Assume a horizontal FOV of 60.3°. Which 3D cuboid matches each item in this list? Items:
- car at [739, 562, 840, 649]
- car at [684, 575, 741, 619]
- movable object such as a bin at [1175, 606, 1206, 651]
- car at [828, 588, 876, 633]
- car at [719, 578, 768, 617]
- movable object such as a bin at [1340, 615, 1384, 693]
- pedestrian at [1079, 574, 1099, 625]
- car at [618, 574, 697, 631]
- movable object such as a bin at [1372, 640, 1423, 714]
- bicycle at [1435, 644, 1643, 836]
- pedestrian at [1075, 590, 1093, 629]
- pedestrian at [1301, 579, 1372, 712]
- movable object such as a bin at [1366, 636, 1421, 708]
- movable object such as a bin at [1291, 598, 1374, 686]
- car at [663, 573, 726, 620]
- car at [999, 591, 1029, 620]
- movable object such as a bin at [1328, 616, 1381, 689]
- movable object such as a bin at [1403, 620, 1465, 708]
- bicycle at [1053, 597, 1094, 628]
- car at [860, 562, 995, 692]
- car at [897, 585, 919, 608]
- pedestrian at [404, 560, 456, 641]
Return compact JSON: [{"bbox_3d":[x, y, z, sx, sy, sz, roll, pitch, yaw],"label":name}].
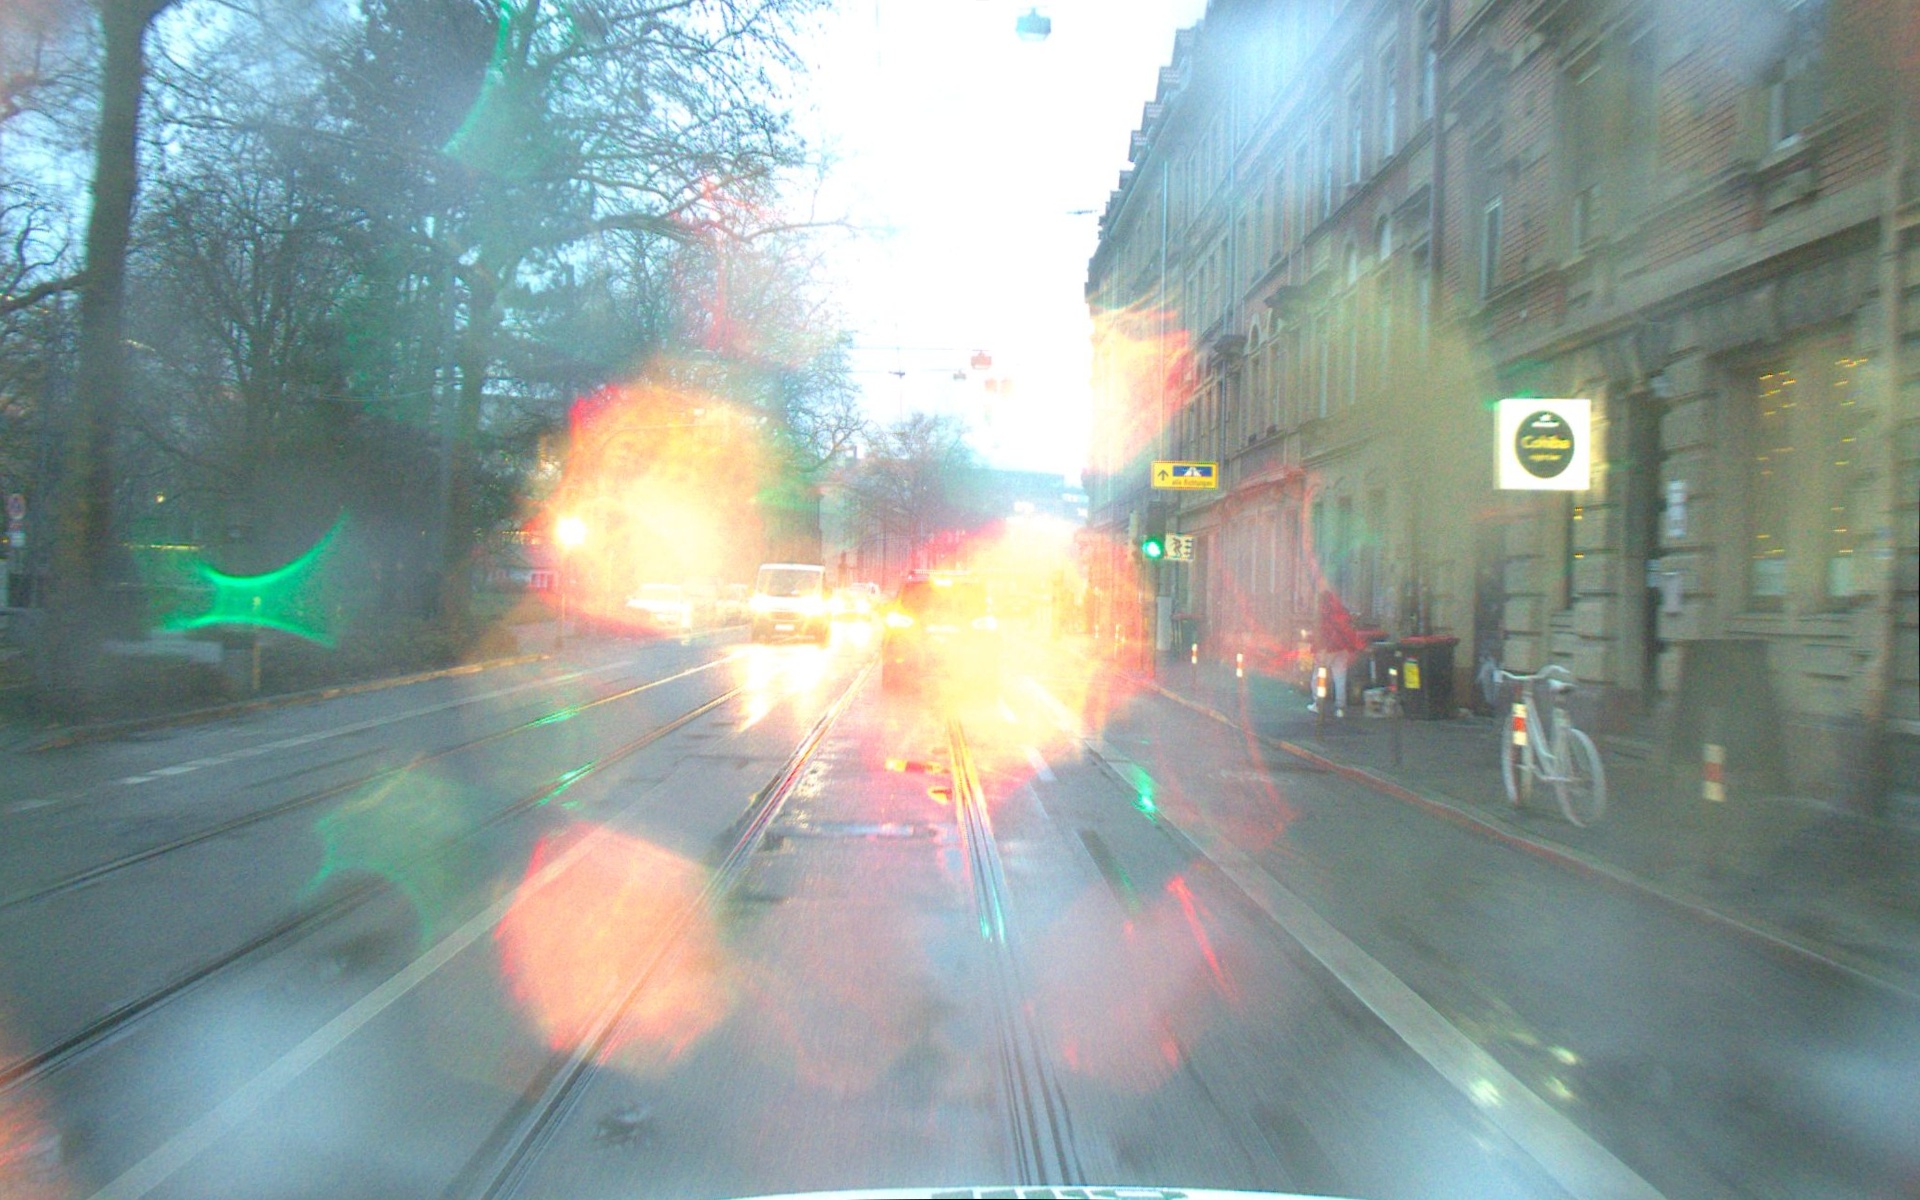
[{"bbox_3d":[-4.881,0.154,48.290,2.397,2.388,5.843,0,0,-1],"label":"car"},{"bbox_3d":[-9.907,-0.123,66.469,1.945,1.643,4.424,2,0,-5],"label":"car"},{"bbox_3d":[5.651,0.703,40.563,0.627,1.073,0.744,1,0,-1],"label":"movable object such as a bin"},{"bbox_3d":[-5.160,0.487,79.728,1.952,2.049,4.000,1,0,1],"label":"car"},{"bbox_3d":[-9.524,-0.105,73.040,1.945,1.643,4.424,2,0,-5],"label":"car"},{"bbox_3d":[5.845,0.772,24.052,0.598,1.100,0.600,1,0,14],"label":"movable object such as a bin"},{"bbox_3d":[5.104,-0.016,65.413,0.701,1.987,0.657,1,0,-1],"label":"pedestrian"},{"bbox_3d":[-9.260,0.080,50.974,1.945,1.643,4.424,2,0,-5],"label":"car"},{"bbox_3d":[5.762,1.003,21.781,0.482,0.945,0.421,0,0,-28],"label":"movable object such as a bin"},{"bbox_3d":[4.086,0.940,11.856,0.670,1.176,2.188,1,0,-1],"label":"bicycle"},{"bbox_3d":[5.808,0.458,77.695,0.756,1.806,0.684,1,0,-1],"label":"pedestrian"},{"bbox_3d":[5.058,0.605,22.267,0.817,1.731,0.954,1,0,7],"label":"pedestrian"},{"bbox_3d":[5.851,0.969,22.331,0.599,0.945,0.491,0,0,-3],"label":"movable object such as a bin"},{"bbox_3d":[5.803,0.641,25.812,0.871,1.311,1.260,0,0,-8],"label":"movable object such as a bin"},{"bbox_3d":[-9.816,-0.127,61.380,1.945,1.643,4.424,2,0,-5],"label":"car"},{"bbox_3d":[3.642,0.370,111.202,1.952,1.874,4.001,1,0,1],"label":"car"},{"bbox_3d":[5.889,0.772,24.693,0.748,1.056,0.600,1,0,14],"label":"movable object such as a bin"},{"bbox_3d":[6.080,0.808,21.227,0.605,1.099,0.486,0,0,-30],"label":"movable object such as a bin"},{"bbox_3d":[4.471,0.481,65.189,0.781,1.164,2.230,2,0,-20],"label":"bicycle"},{"bbox_3d":[-0.438,0.388,26.457,1.952,1.874,4.001,1,0,1],"label":"car"},{"bbox_3d":[-4.827,-0.276,152.969,1.953,2.049,3.999,1,0,-1],"label":"car"},{"bbox_3d":[-12.366,0.021,38.622,0.803,1.847,1.010,1,0,2],"label":"pedestrian"}]
